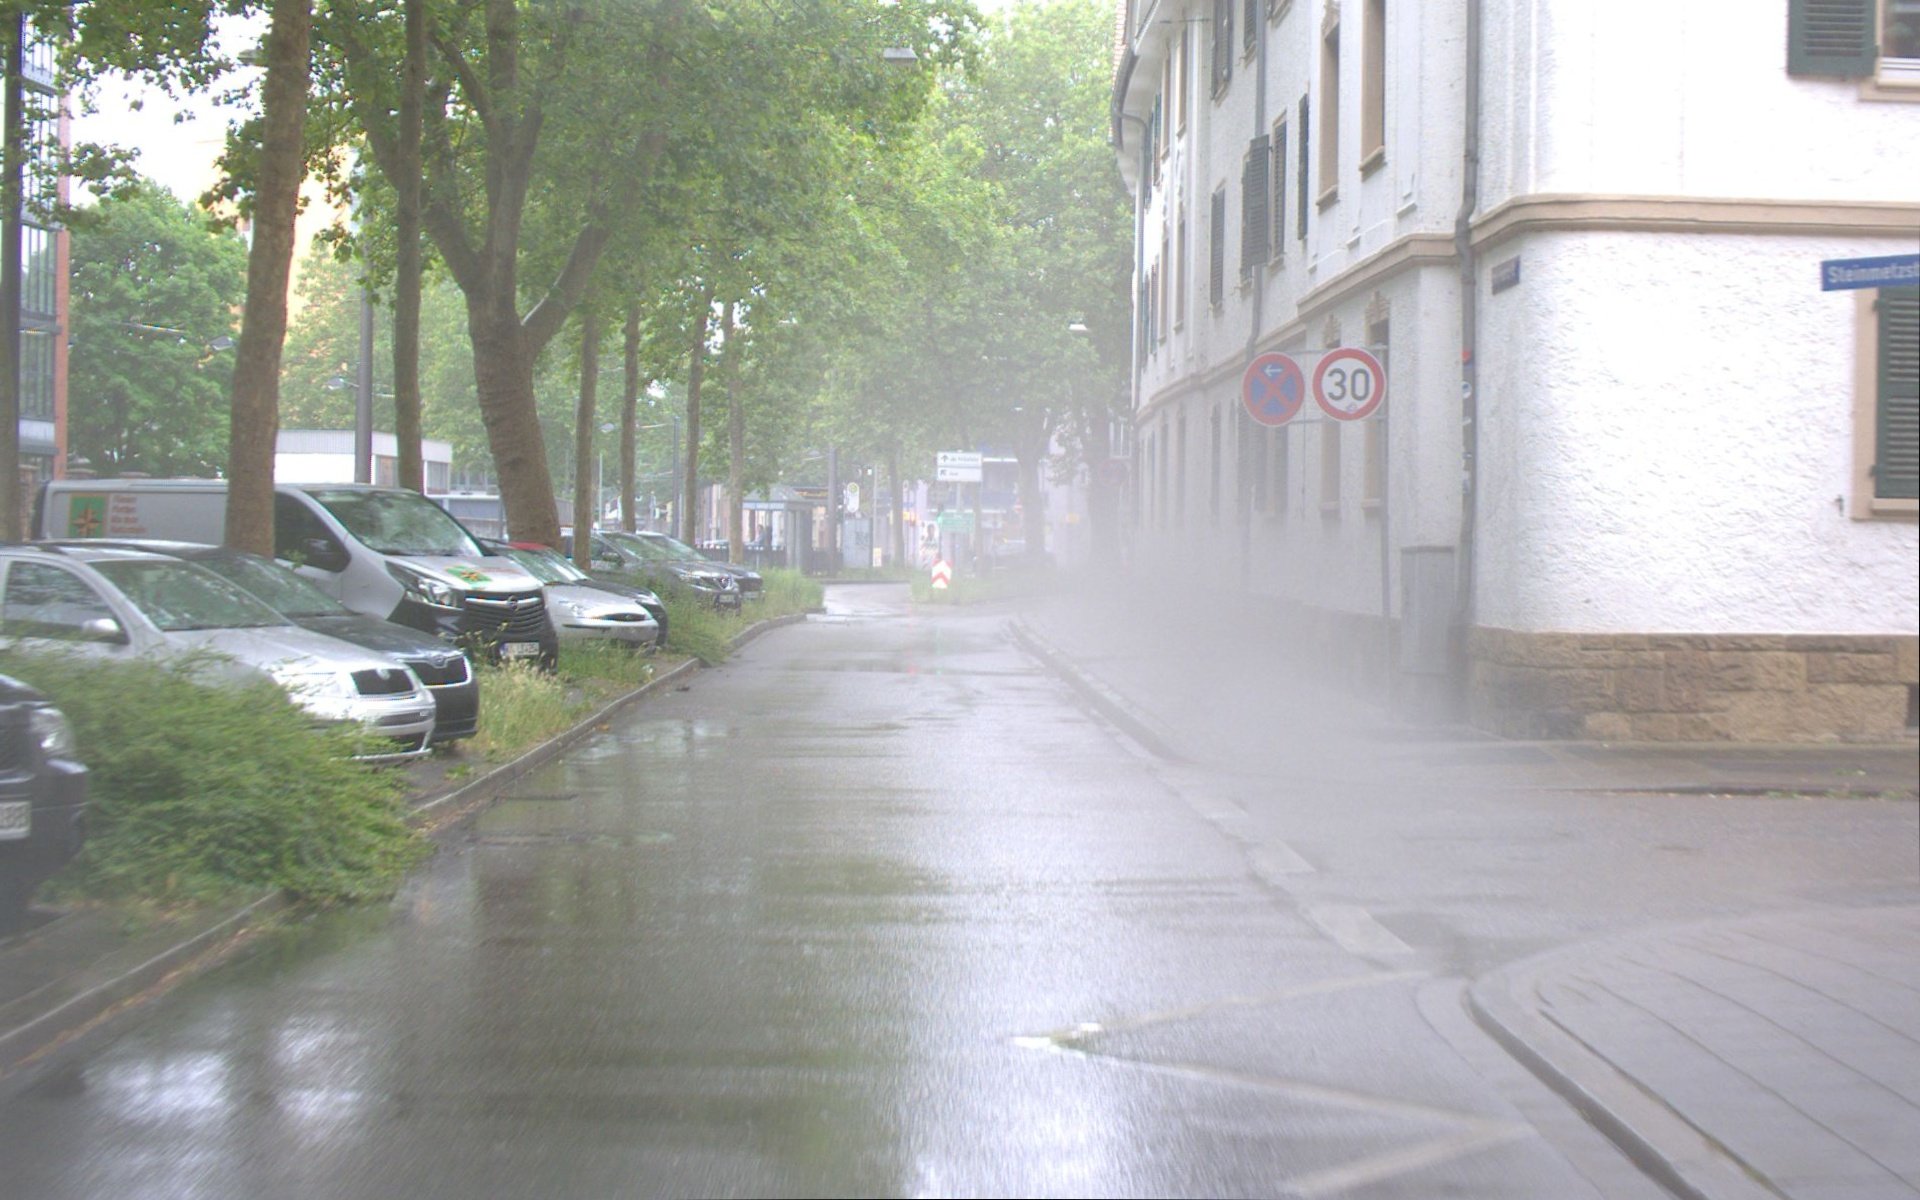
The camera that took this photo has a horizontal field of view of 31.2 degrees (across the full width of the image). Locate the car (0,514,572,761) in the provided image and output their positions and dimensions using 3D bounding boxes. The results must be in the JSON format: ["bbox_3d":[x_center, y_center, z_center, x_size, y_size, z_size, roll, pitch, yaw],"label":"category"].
[{"bbox_3d":[-4.929,0.191,23.156,4.308,1.432,1.745,2,2,26],"label":"car"}]

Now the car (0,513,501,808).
[{"bbox_3d":[-4.904,0.280,20.056,4.061,1.494,1.745,2,2,23],"label":"car"}]

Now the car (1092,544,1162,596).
[{"bbox_3d":[5.580,-1.025,115.220,1.993,1.634,4.000,2,1,-1],"label":"car"}]

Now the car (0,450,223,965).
[{"bbox_3d":[-4.975,0.305,12.161,4.410,1.654,1.927,1,1,27],"label":"car"}]

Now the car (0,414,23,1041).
[{"bbox_3d":[-4.850,0.362,9.361,4.411,1.640,1.869,0,1,30],"label":"car"}]

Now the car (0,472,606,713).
[{"bbox_3d":[-5.814,-0.089,30.215,5.124,1.970,2.099,0,1,30],"label":"car"}]

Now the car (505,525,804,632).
[{"bbox_3d":[-4.965,-0.374,55.792,4.464,1.591,1.920,2,2,26],"label":"car"}]

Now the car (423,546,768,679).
[{"bbox_3d":[-4.350,0.125,40.907,3.811,1.516,1.719,0,1,30],"label":"car"}]

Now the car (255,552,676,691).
[{"bbox_3d":[-5.592,0.206,38.702,4.553,1.477,1.772,0,1,29],"label":"car"}]
